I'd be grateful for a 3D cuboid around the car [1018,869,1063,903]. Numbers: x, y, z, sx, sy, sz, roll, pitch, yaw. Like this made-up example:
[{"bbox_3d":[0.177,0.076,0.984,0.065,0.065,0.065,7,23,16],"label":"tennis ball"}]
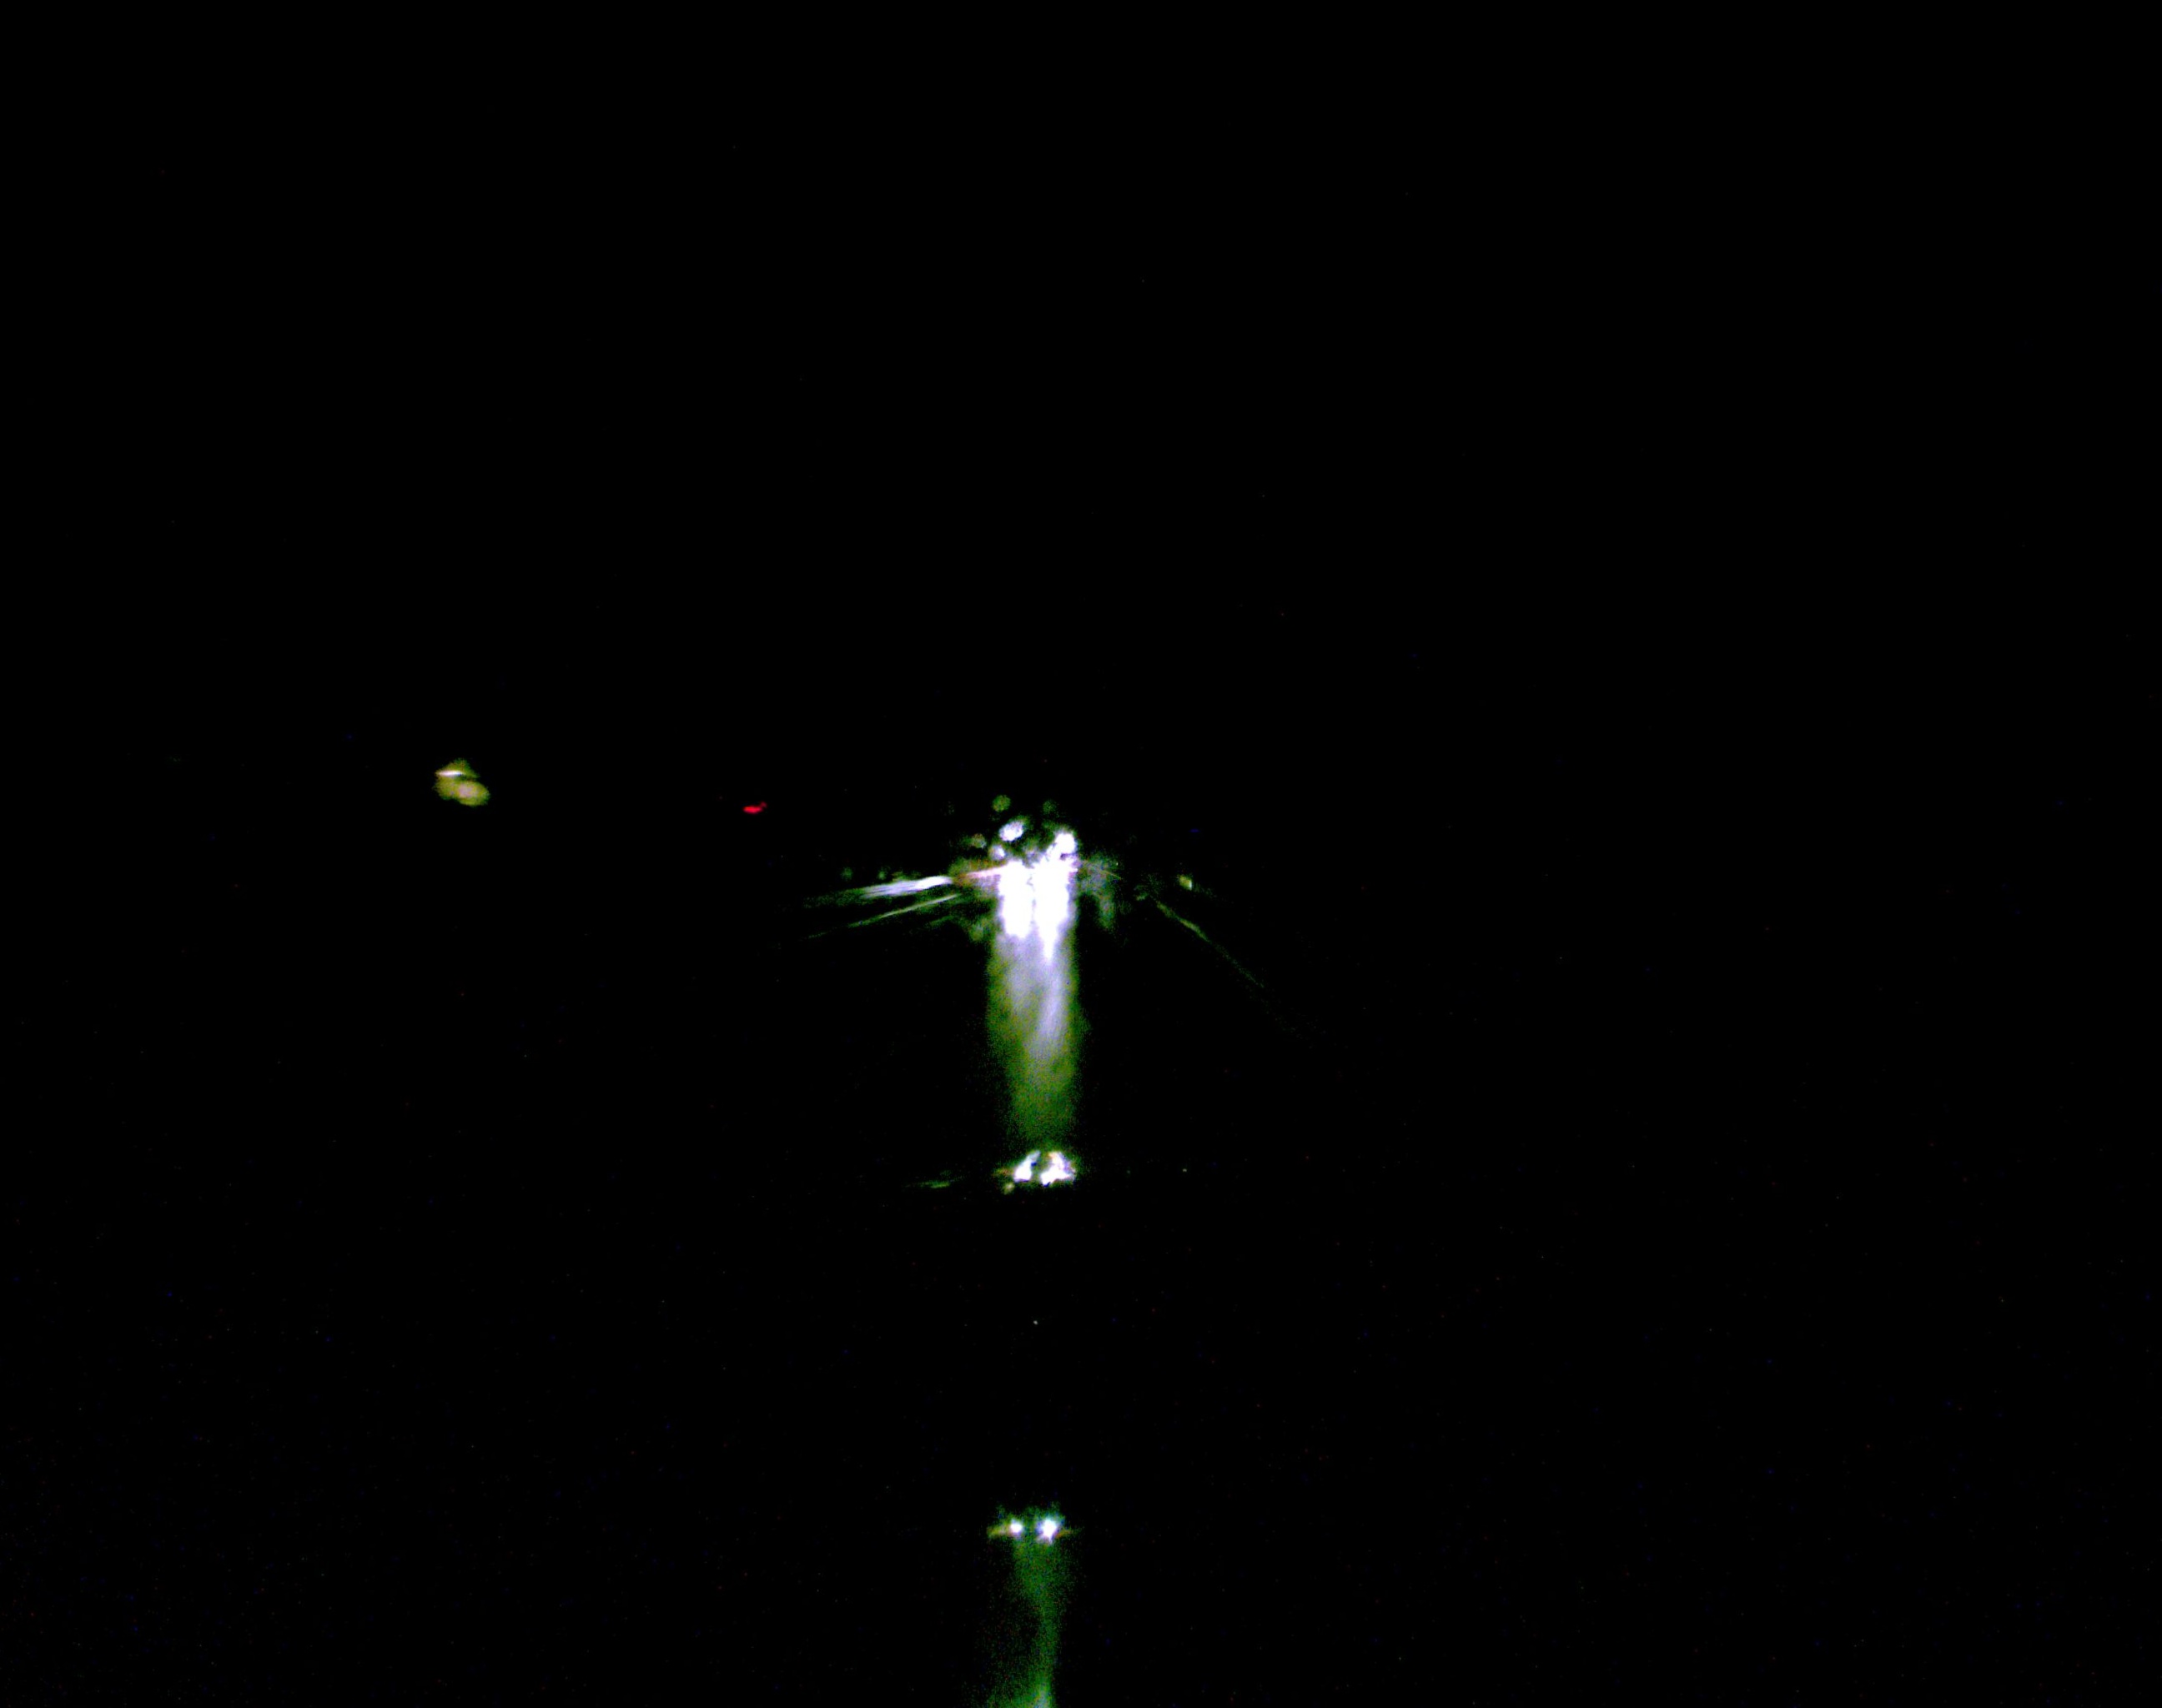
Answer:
[{"bbox_3d":[-2.000,1.568,41.408,1.986,1.500,4.001,-1,1,1],"label":"car"}]
